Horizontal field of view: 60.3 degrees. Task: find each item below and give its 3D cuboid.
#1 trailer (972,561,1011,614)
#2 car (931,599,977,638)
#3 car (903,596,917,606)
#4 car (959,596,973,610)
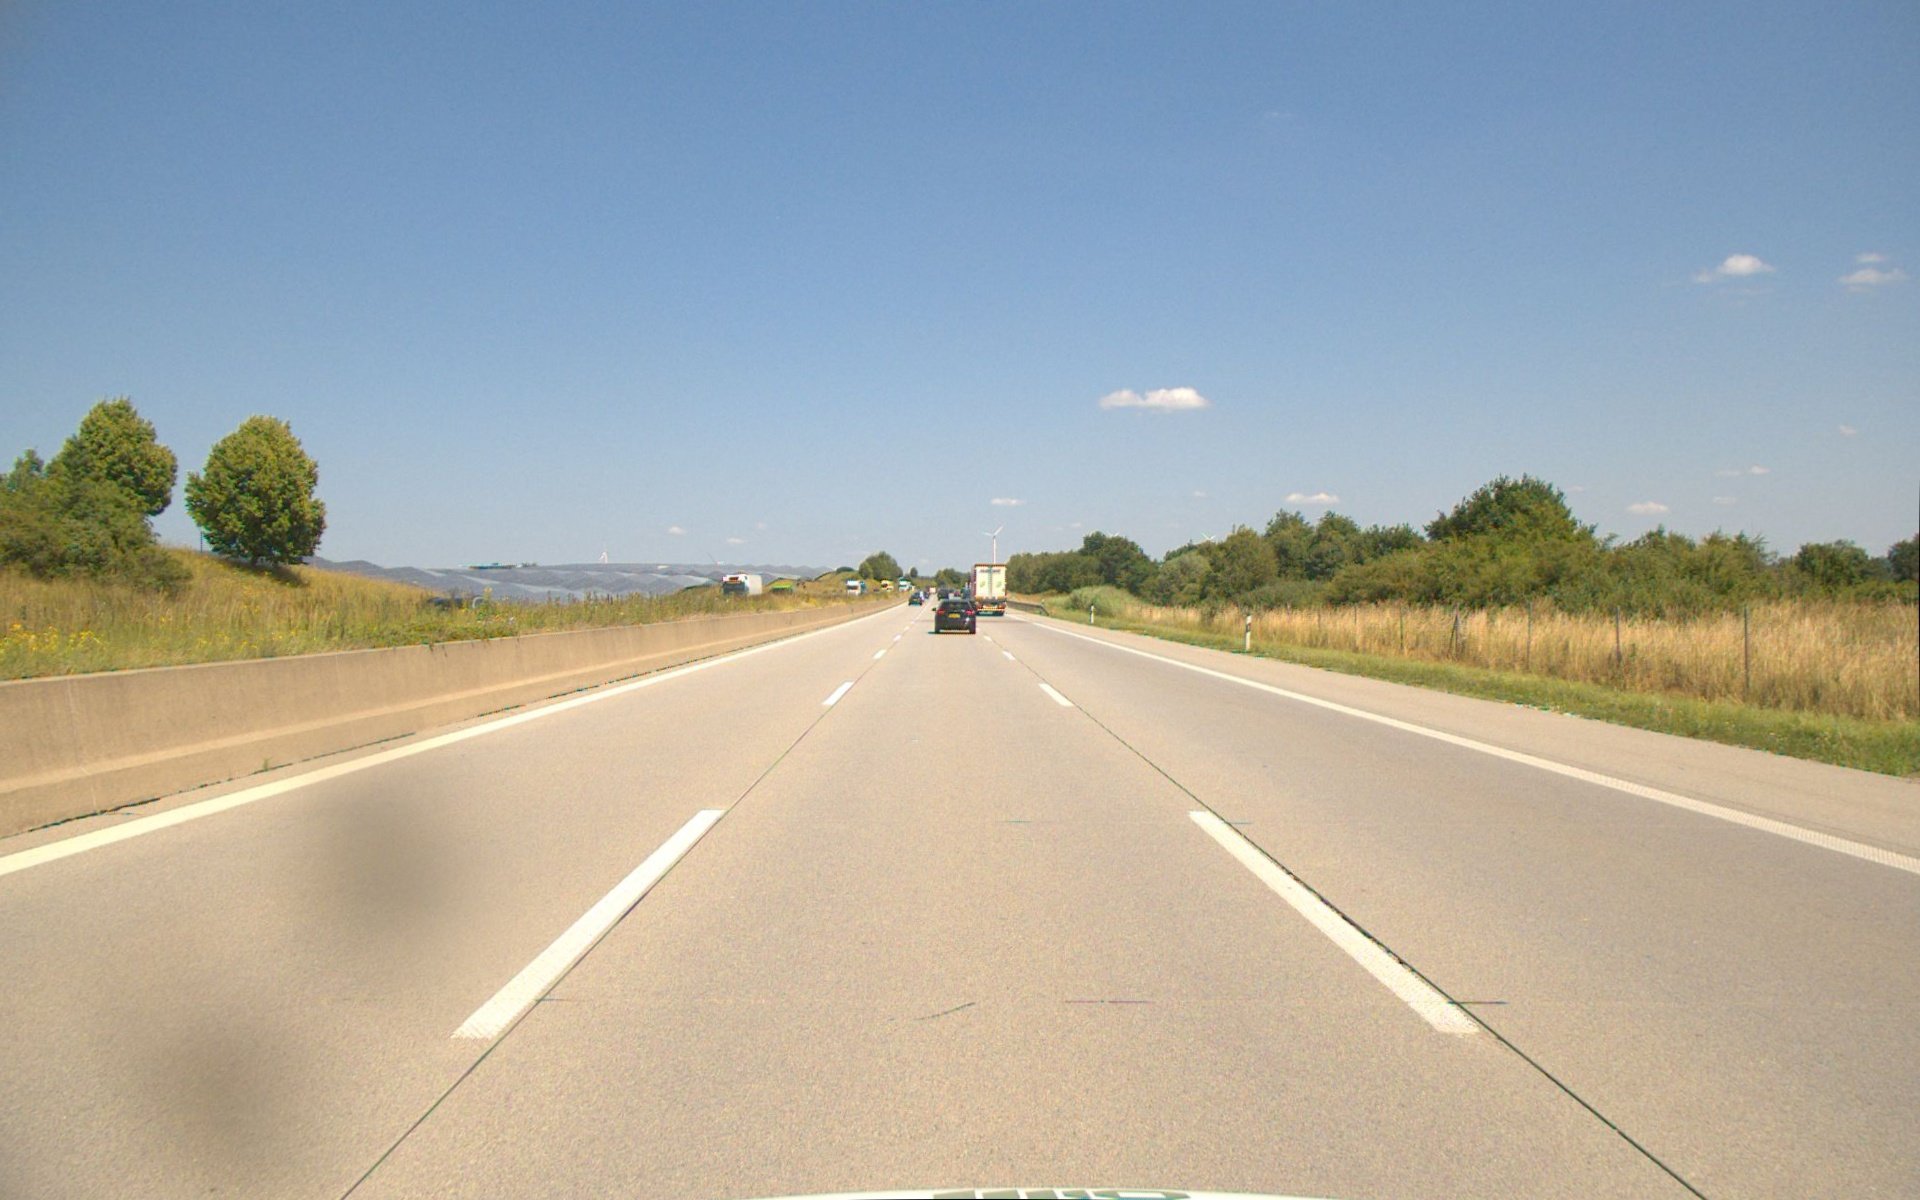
[{"bbox_3d":[2.502,-0.979,136.552,2.794,4.113,12.711,1,0,-1],"label":"trailer"},{"bbox_3d":[-0.288,0.763,70.813,1.871,1.518,4.191,1,0,-1],"label":"car"},{"bbox_3d":[-6.609,0.079,219.293,1.622,1.217,3.959,3,0,-1],"label":"car"},{"bbox_3d":[0.894,0.455,247.873,1.789,1.940,4.001,1,0,3],"label":"car"}]
